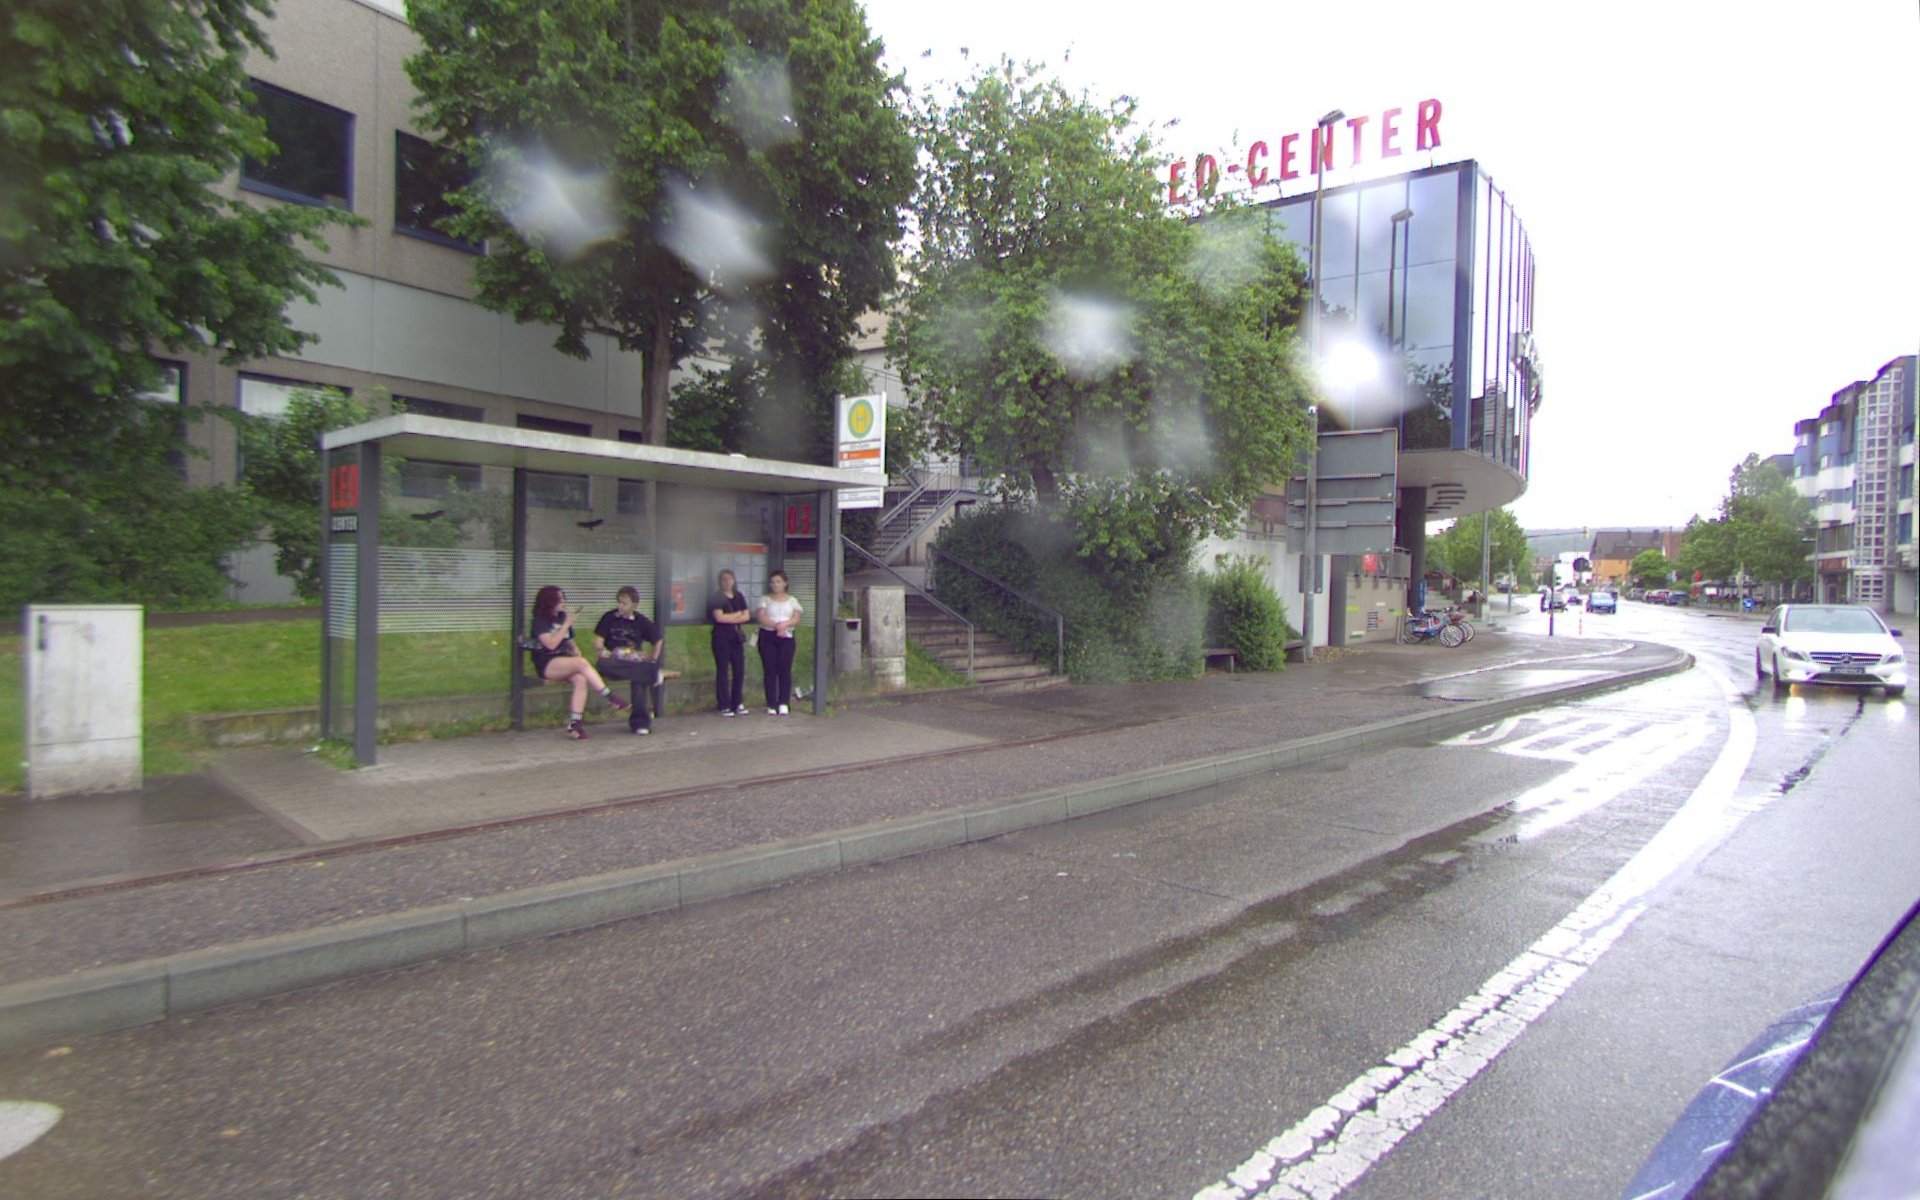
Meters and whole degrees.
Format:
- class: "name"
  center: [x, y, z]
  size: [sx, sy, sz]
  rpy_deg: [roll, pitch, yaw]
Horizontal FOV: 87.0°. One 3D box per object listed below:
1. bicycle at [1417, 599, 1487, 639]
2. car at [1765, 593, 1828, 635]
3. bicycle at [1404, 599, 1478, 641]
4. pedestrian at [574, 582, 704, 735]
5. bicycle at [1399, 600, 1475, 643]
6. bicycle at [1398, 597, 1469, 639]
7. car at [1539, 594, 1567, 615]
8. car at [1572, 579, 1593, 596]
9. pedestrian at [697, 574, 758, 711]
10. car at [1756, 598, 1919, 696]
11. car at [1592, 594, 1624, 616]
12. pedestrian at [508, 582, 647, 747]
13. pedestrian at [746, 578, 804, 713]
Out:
- class: "bicycle"
  center: [15.308, 0.573, 31.541]
  size: [1.827, 1.124, 0.684]
  rpy_deg: [3, 3, 39]
- class: "car"
  center: [31.558, 0.503, 38.251]
  size: [1.624, 1.509, 3.789]
  rpy_deg: [1, 1, 36]
- class: "bicycle"
  center: [14.056, 0.583, 29.584]
  size: [1.799, 1.098, 0.675]
  rpy_deg: [4, 1, 39]
- class: "pedestrian"
  center: [-3.032, 0.512, 9.541]
  size: [1.028, 1.297, 0.682]
  rpy_deg: [4, 2, 39]
- class: "bicycle"
  center: [13.626, 0.598, 28.936]
  size: [1.807, 1.124, 0.684]
  rpy_deg: [4, 2, 39]
- class: "bicycle"
  center: [14.289, 0.532, 30.560]
  size: [1.807, 1.124, 0.684]
  rpy_deg: [4, 2, 39]
- class: "car"
  center: [46.864, 0.329, 79.996]
  size: [1.886, 1.545, 3.957]
  rpy_deg: [1, 1, 30]
- class: "car"
  center: [59.860, -1.187, 97.328]
  size: [1.571, 1.660, 3.601]
  rpy_deg: [1, 1, 30]
- class: "pedestrian"
  center: [-2.421, 0.431, 10.569]
  size: [0.532, 1.382, 0.412]
  rpy_deg: [2, 2, -8]
- class: "car"
  center: [16.318, 0.774, 18.926]
  size: [1.750, 1.568, 4.277]
  rpy_deg: [1, 1, 32]
- class: "car"
  center: [49.494, 0.358, 77.331]
  size: [1.886, 1.545, 3.957]
  rpy_deg: [1, 1, 30]
- class: "pedestrian"
  center: [-3.349, 0.518, 8.851]
  size: [1.028, 1.297, 0.682]
  rpy_deg: [4, 2, 39]
- class: "pedestrian"
  center: [-1.957, 0.473, 10.748]
  size: [0.532, 1.382, 0.412]
  rpy_deg: [2, 2, -7]
